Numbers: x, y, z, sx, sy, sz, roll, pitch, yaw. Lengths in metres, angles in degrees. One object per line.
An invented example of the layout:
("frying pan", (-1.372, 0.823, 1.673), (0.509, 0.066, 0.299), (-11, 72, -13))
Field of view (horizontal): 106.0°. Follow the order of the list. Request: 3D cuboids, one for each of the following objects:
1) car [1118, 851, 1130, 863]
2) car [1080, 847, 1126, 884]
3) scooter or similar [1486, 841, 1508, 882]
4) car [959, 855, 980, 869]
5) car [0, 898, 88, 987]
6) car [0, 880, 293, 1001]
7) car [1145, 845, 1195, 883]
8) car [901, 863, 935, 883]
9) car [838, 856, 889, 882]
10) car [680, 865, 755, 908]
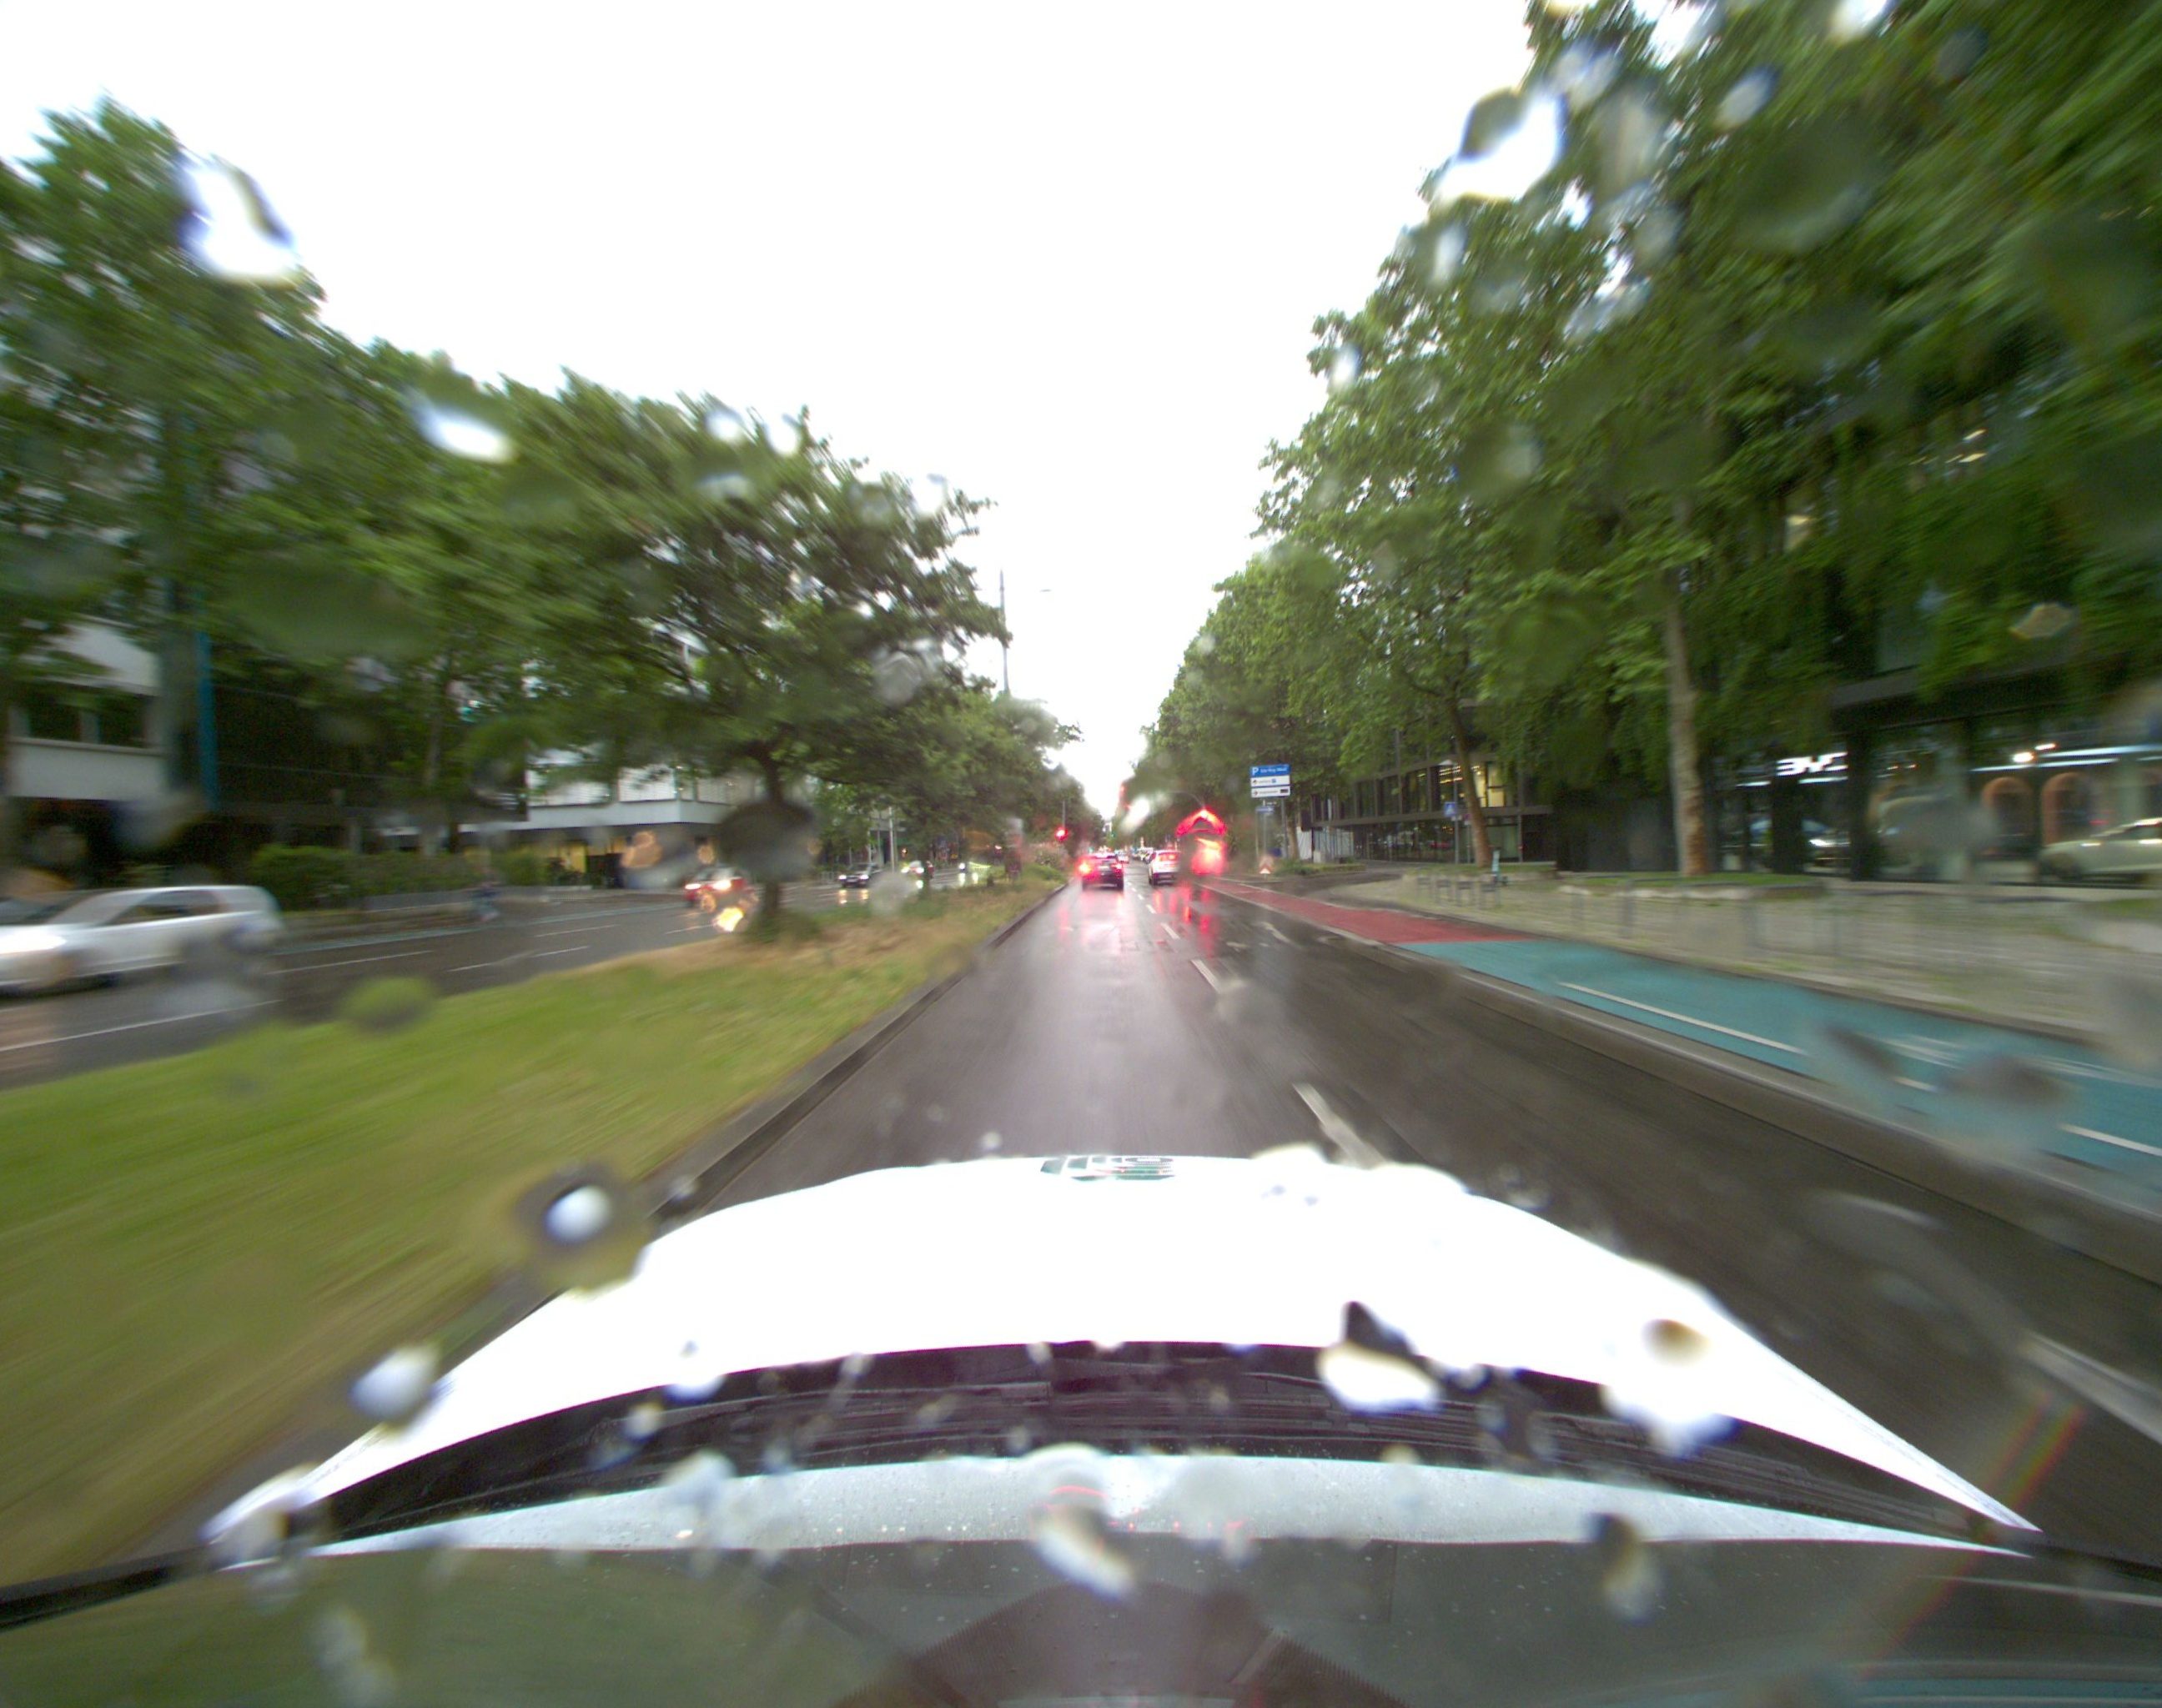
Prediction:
("car", (6.441, 0.471, 121.138), (1.614, 1.666, 4.001), (-3, 0, 1))
("car", (0.978, 0.479, 36.456), (1.912, 1.491, 4.001), (-2, 0, 1))
("scooter or similar", (12.679, 0.219, 24.792), (0.377, 1.228, 1.086), (-2, 0, 37))
("car", (-11.573, 0.830, 84.867), (1.608, 1.394, 3.597), (-1, -2, 1))
("car", (-18.783, 1.553, 12.197), (1.687, 1.409, 4.906), (-2, 1, 1))
("car", (-14.932, 1.232, 12.602), (1.837, 1.429, 3.644), (-2, 1, 1))
("car", (4.272, 0.454, 39.869), (1.986, 1.655, 4.890), (-2, 1, 1))
("car", (-12.604, 1.448, 63.131), (1.608, 1.394, 4.185), (-2, 1, 1))
("car", (-12.929, 0.877, 48.555), (1.837, 1.389, 4.001), (-2, 0, 1))
("car", (-13.880, 1.195, 31.264), (1.488, 1.463, 2.733), (-2, 0, 3))
